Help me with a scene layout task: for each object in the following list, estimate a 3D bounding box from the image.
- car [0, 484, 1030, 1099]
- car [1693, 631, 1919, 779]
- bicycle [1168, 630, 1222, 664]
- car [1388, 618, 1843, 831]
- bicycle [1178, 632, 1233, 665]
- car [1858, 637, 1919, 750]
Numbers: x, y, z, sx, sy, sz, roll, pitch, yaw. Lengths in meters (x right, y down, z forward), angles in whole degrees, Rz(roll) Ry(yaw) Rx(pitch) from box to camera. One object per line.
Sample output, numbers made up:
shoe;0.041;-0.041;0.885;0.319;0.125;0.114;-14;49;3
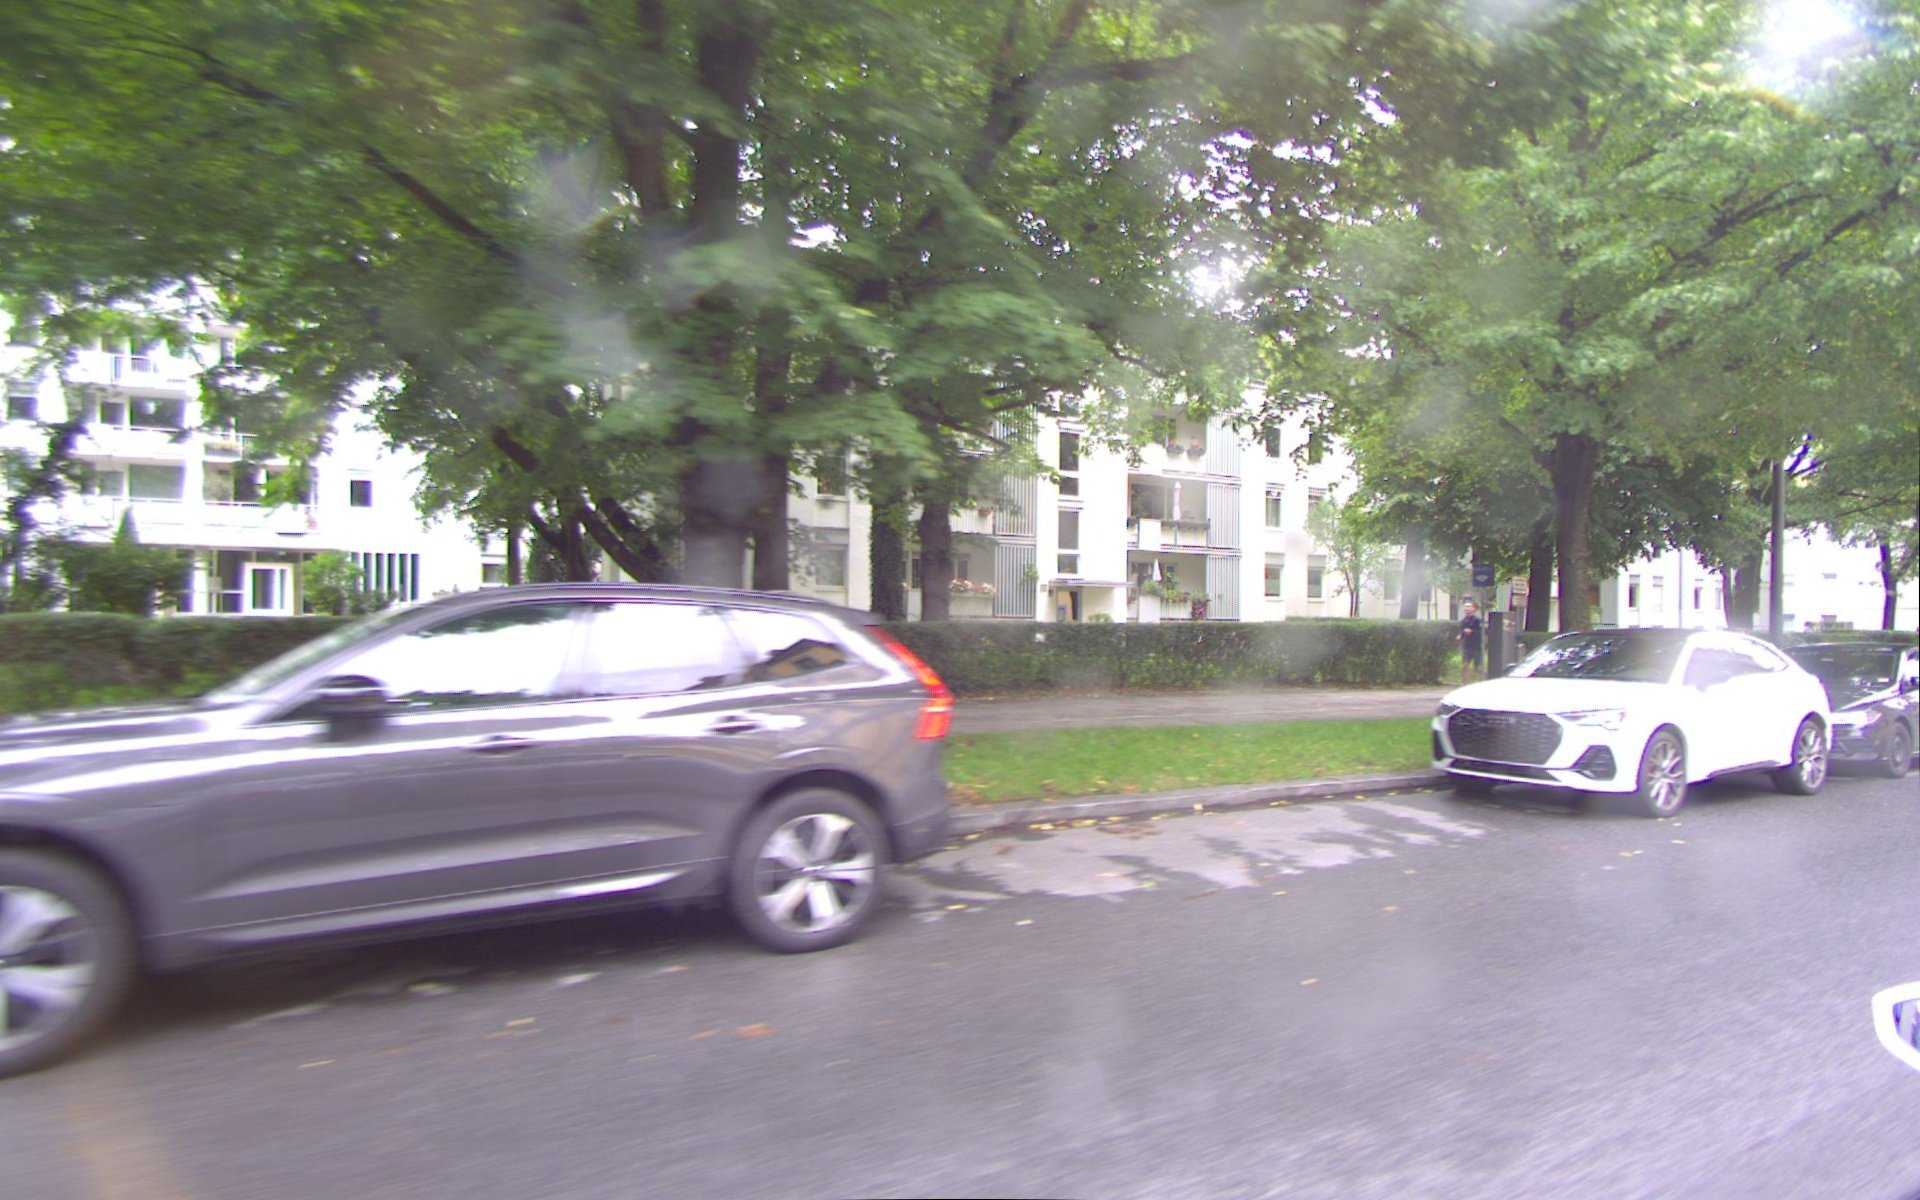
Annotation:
car;-2.038;0.650;4.670;4.494;1.902;1.776;2;-2;-30
car;10.739;1.157;12.032;4.055;1.489;1.665;2;-2;-30
bicycle;7.937;1.570;33.933;1.882;1.122;0.637;1;0;-32
car;6.316;1.023;9.555;4.530;1.618;1.776;2;-2;-30
bicycle;8.127;1.605;33.262;1.882;1.051;0.637;1;0;-32
car;15.133;1.323;14.396;4.935;1.489;1.802;2;-2;-28
